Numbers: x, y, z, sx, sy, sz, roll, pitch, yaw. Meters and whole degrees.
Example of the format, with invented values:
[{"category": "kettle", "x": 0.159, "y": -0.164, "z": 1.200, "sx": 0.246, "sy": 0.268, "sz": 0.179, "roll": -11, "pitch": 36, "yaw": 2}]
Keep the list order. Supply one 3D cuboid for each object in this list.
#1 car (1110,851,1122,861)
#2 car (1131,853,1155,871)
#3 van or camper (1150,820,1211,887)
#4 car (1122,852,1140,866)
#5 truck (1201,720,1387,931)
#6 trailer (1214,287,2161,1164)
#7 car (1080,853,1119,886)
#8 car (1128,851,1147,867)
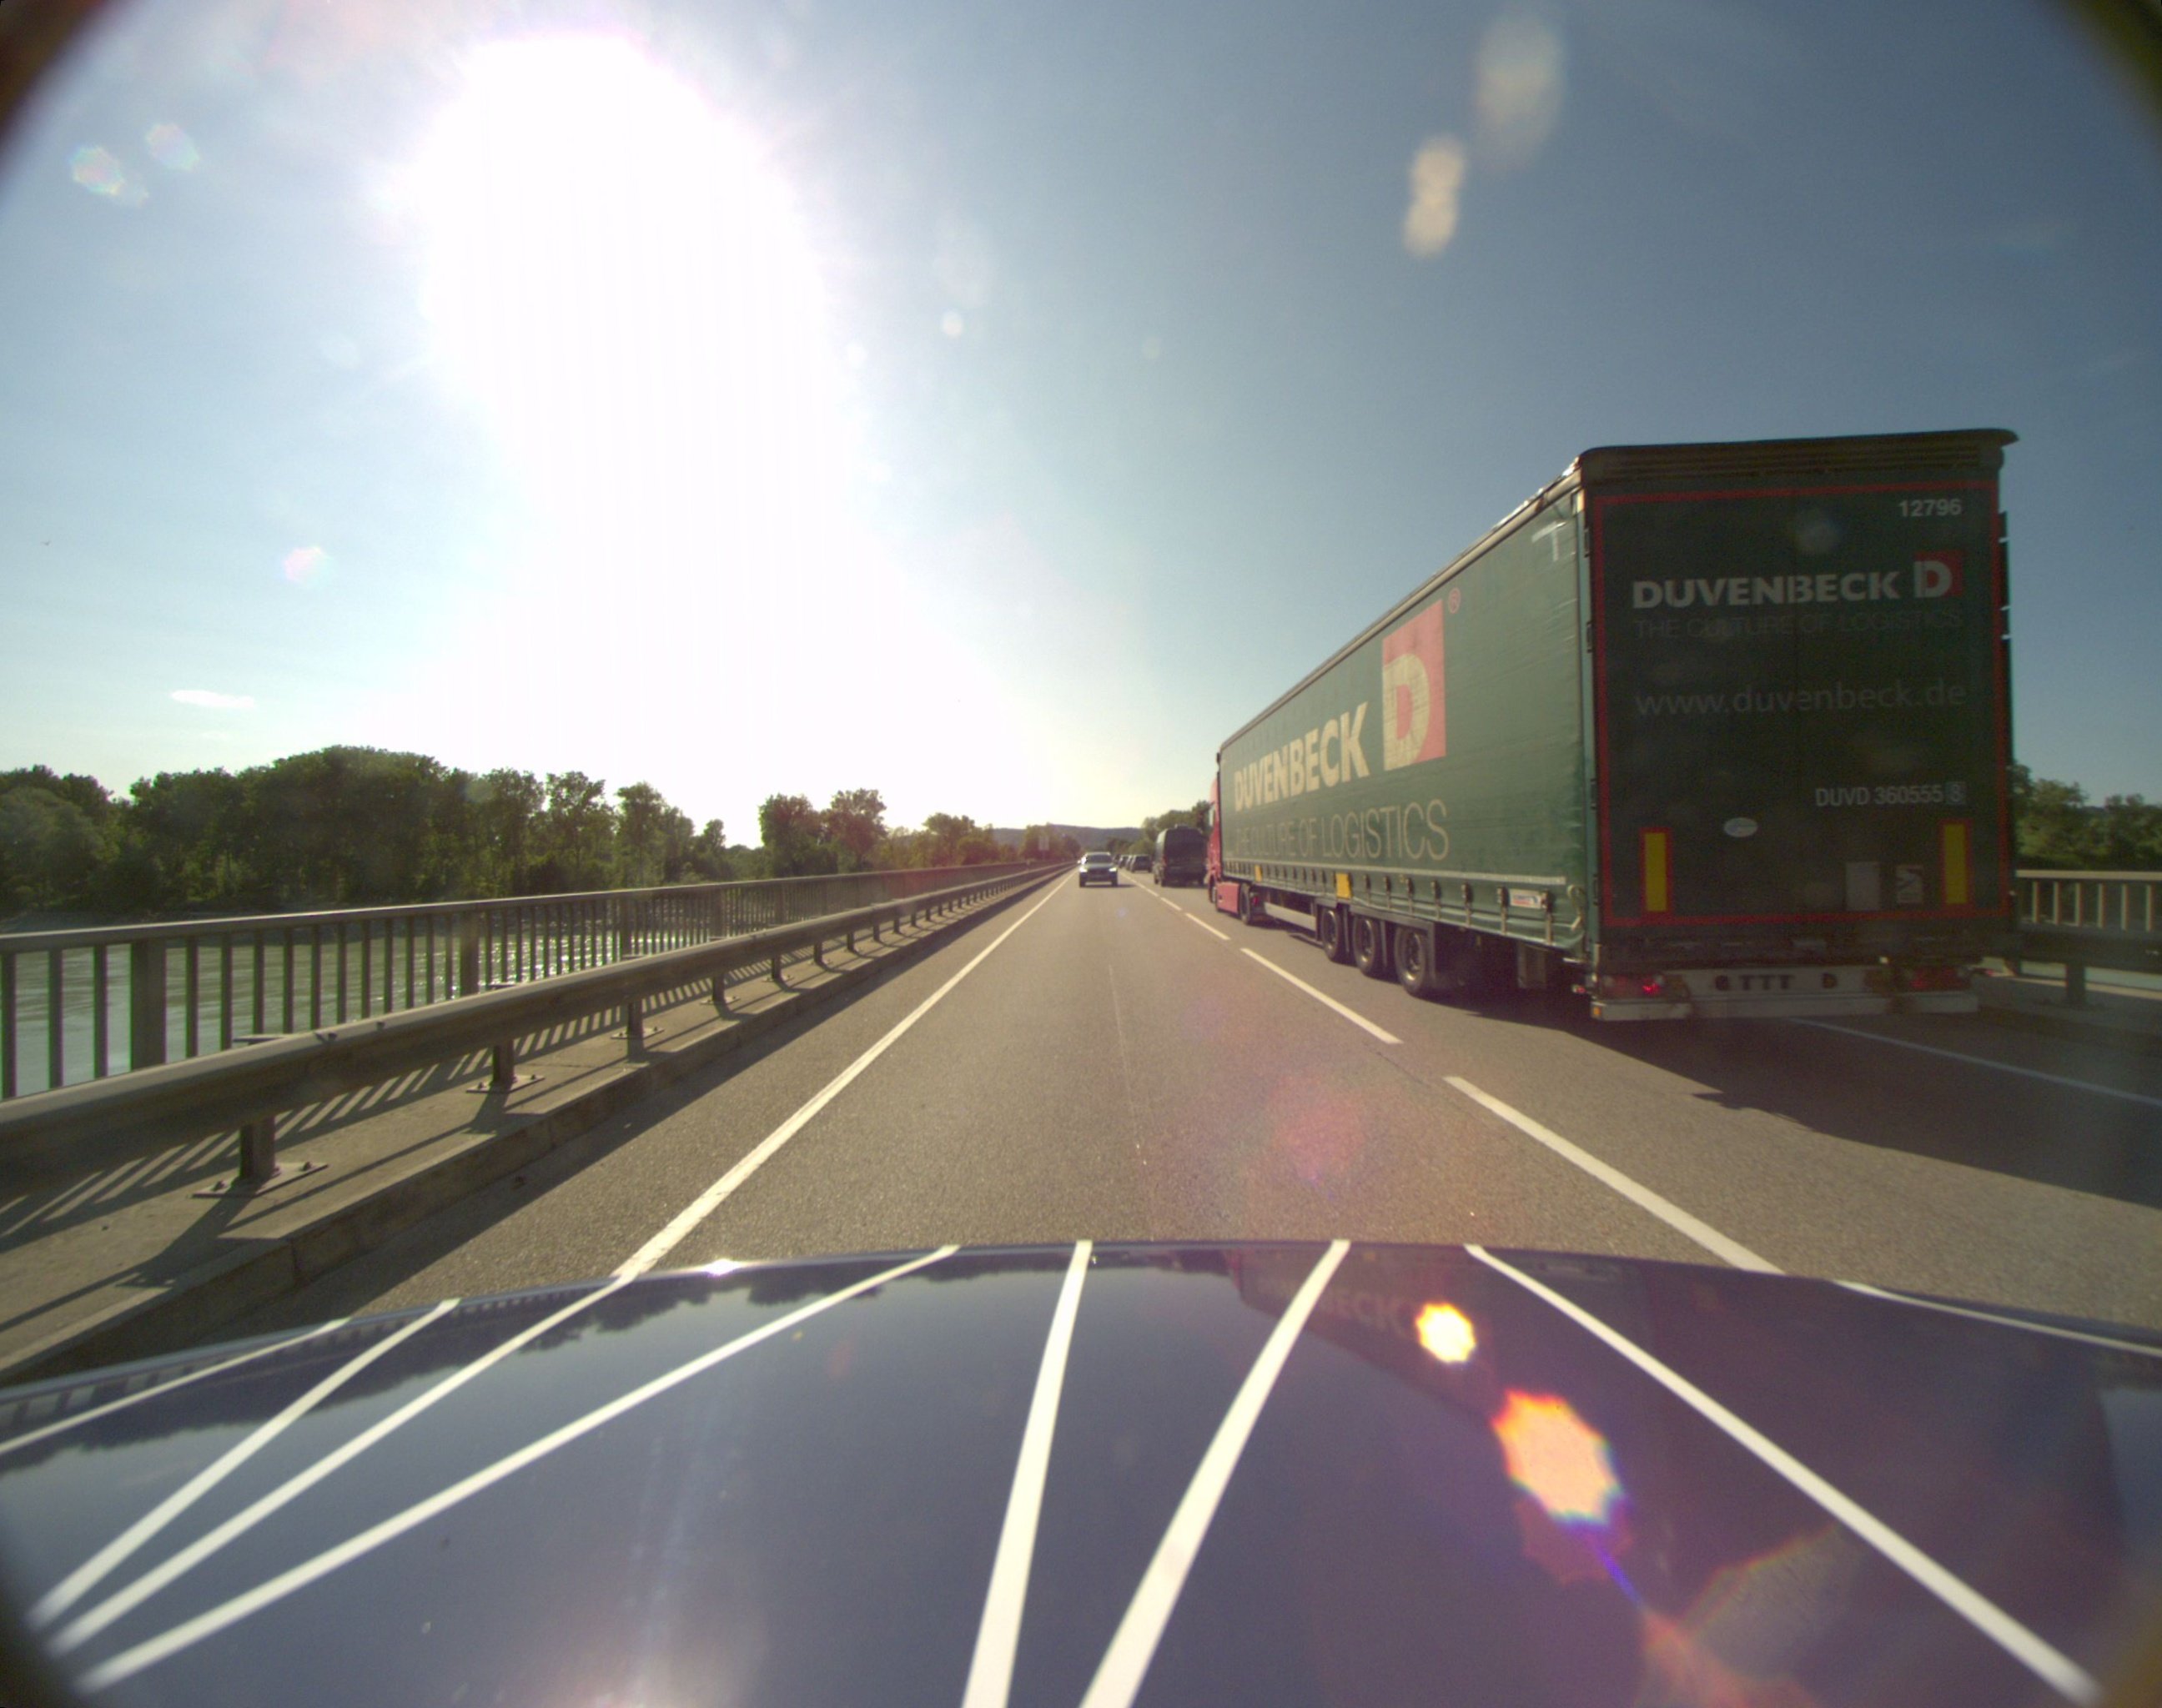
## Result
[{"category": "car", "x": 5.698, "y": 0.311, "z": 124.766, "sx": 1.859, "sy": 1.712, "sz": 4.566, "roll": -1, "pitch": 0, "yaw": 2}, {"category": "car", "x": 5.519, "y": 0.709, "z": 68.491, "sx": 1.879, "sy": 1.574, "sz": 4.274, "roll": -1, "pitch": 0, "yaw": 1}, {"category": "van or camper", "x": 4.872, "y": -0.032, "z": 38.300, "sx": 2.321, "sy": 3.033, "sz": 6.818, "roll": -1, "pitch": 0, "yaw": 2}, {"category": "car", "x": 6.303, "y": 0.619, "z": 96.257, "sx": 2.058, "sy": 1.643, "sz": 4.721, "roll": -3, "pitch": 0, "yaw": 2}, {"category": "truck", "x": 4.722, "y": -0.574, "z": 18.096, "sx": 2.915, "sy": 4.160, "sz": 5.713, "roll": -1, "pitch": 0, "yaw": 2}, {"category": "trailer", "x": 4.539, "y": -0.630, "z": 10.918, "sx": 2.914, "sy": 4.277, "sz": 14.302, "roll": -2, "pitch": 0, "yaw": 1}, {"category": "car", "x": 0.980, "y": 0.777, "z": 39.526, "sx": 1.871, "sy": 1.598, "sz": 4.380, "roll": -2, "pitch": 0, "yaw": 2}, {"category": "car", "x": 5.890, "y": 0.502, "z": 79.779, "sx": 1.810, "sy": 1.568, "sz": 4.201, "roll": -1, "pitch": 0, "yaw": 3}]
